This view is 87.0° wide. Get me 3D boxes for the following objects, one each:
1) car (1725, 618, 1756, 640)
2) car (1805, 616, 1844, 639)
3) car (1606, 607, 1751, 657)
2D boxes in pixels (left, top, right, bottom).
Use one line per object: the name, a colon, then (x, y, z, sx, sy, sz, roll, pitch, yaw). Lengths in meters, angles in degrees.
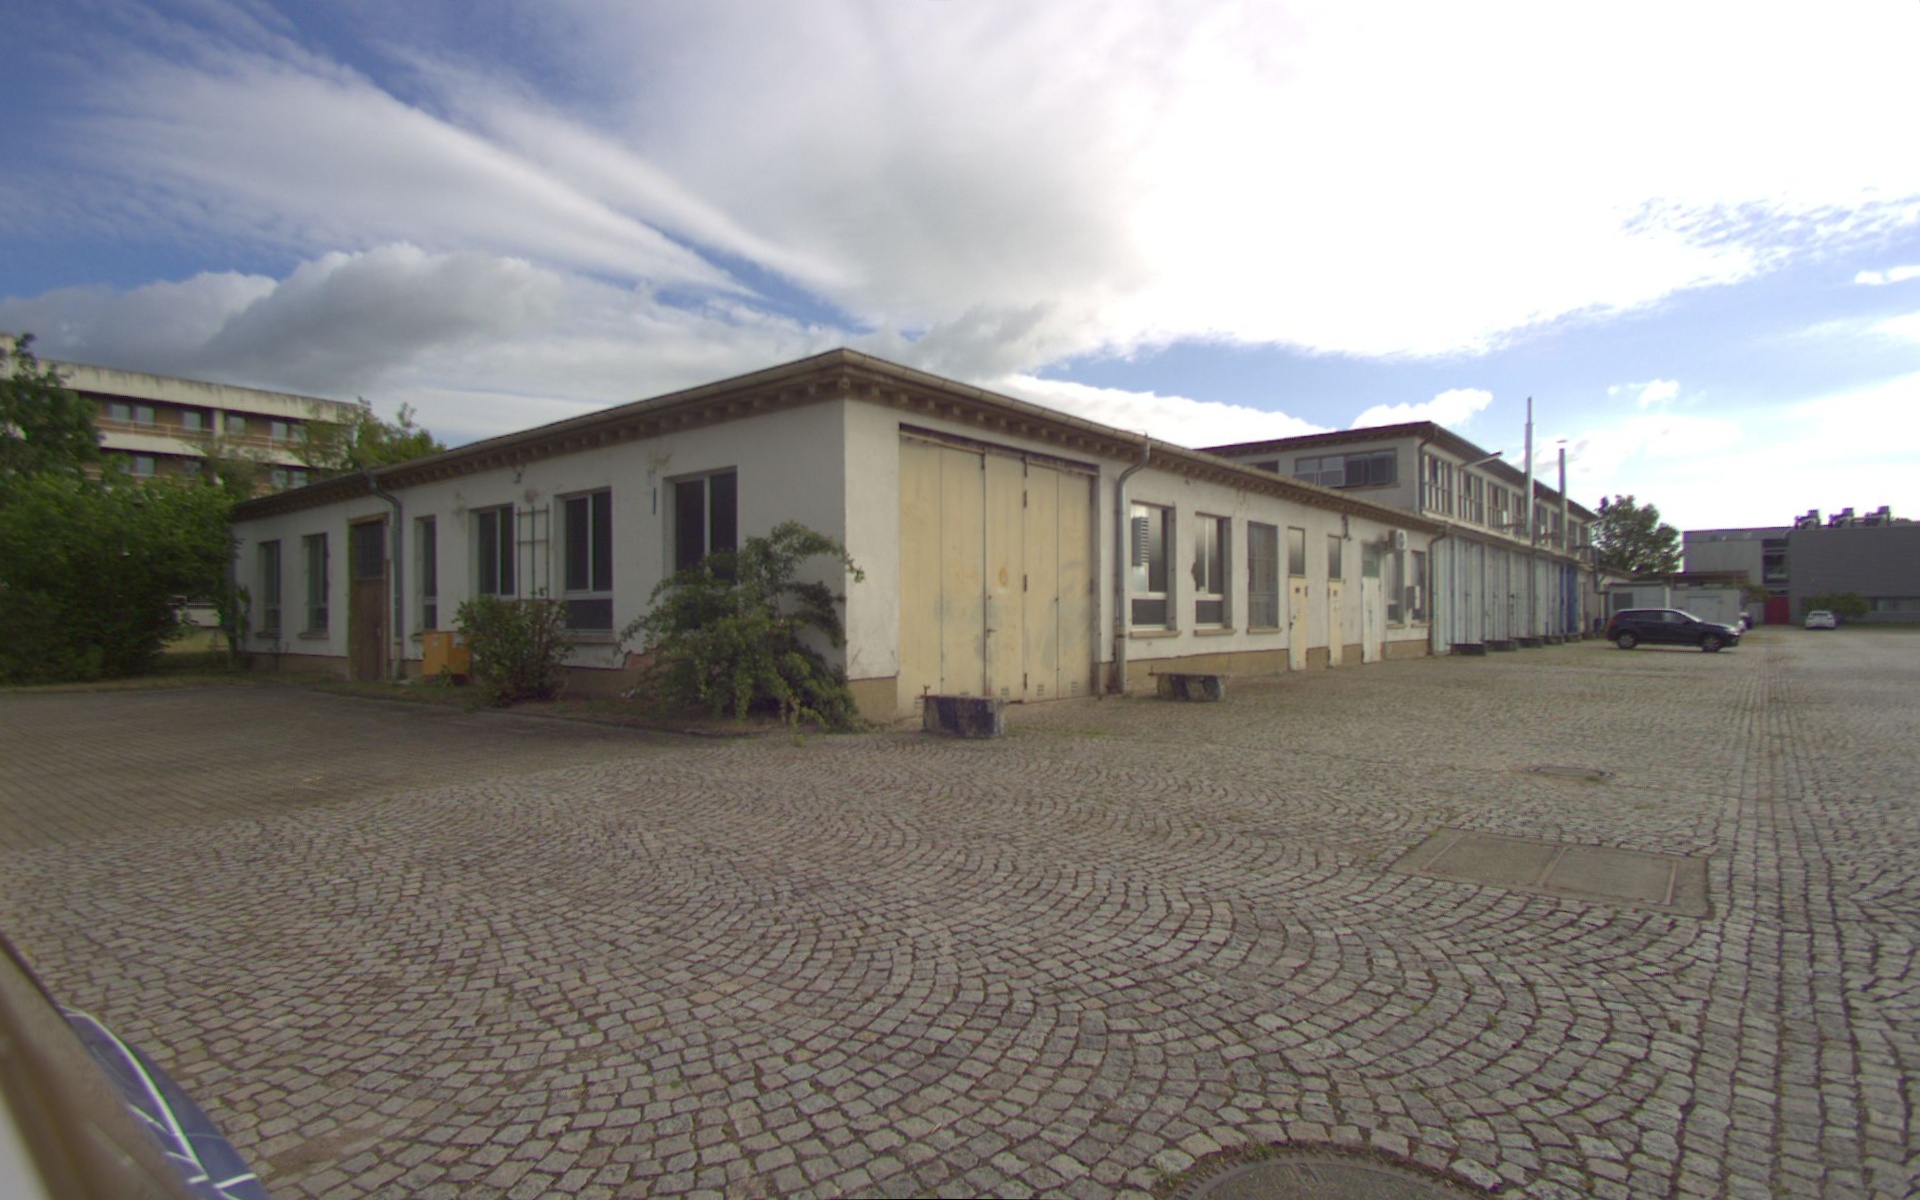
car: (64.908, 2.391, 84.128, 1.998, 1.824, 3.948, -1, -2, 38)
car: (69.259, 2.185, 81.116, 2.151, 1.824, 3.948, -1, -2, 38)
car: (27.558, 1.249, 38.886, 4.431, 1.770, 1.974, -1, -4, 39)
